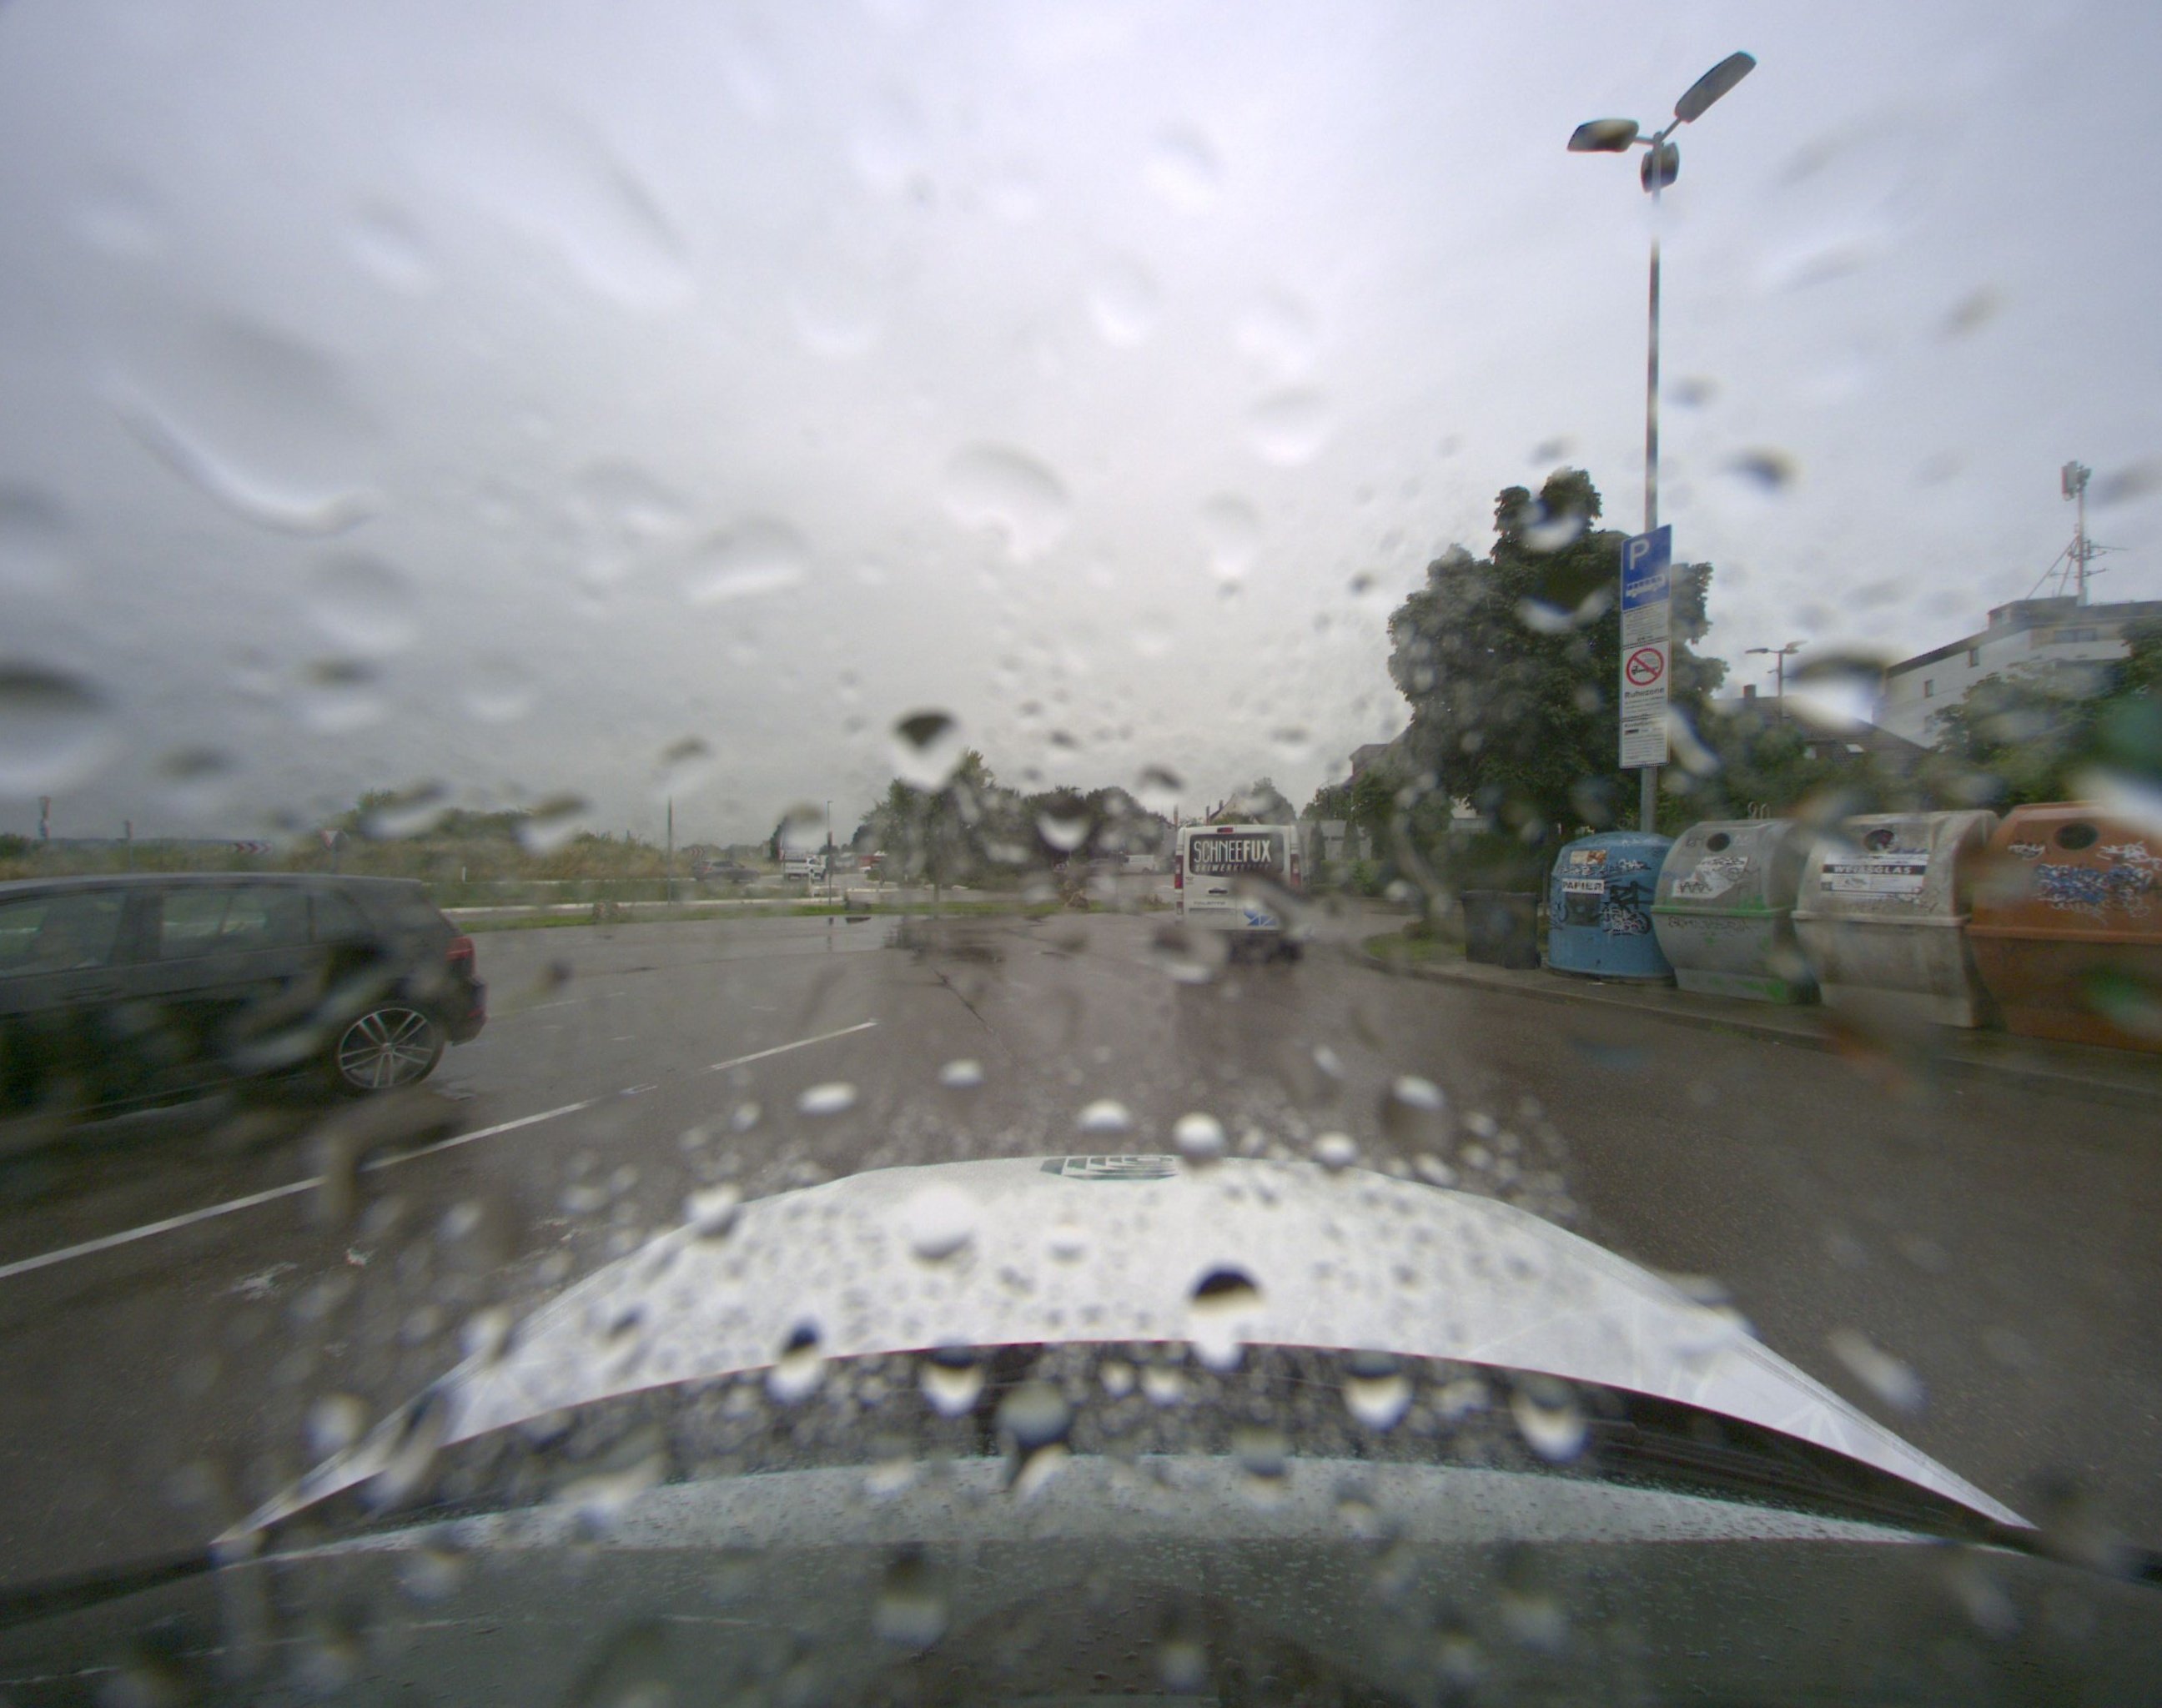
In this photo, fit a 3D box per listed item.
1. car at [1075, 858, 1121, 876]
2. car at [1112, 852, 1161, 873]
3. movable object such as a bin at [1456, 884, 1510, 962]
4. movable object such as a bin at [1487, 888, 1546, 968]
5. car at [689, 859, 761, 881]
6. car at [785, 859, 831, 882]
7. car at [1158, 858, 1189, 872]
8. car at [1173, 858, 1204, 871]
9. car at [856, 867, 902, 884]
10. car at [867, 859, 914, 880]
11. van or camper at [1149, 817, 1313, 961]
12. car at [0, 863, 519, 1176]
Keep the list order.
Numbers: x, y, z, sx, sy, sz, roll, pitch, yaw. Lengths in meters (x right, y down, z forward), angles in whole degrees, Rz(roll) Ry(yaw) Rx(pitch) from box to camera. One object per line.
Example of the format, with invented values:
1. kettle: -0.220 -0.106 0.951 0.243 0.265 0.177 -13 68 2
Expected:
1. car: 1.488 1.146 71.344 3.700 1.551 1.458 -1 0 20
2. car: 5.511 0.833 80.543 4.482 2.033 1.653 -1 0 20
3. movable object such as a bin: 5.113 0.866 10.369 0.447 0.938 0.489 -1 0 1
4. movable object such as a bin: 5.250 0.876 9.833 0.447 0.917 0.489 -1 0 1
5. car: -22.434 0.976 51.464 1.673 1.326 4.067 -1 0 25
6. car: -20.193 1.220 60.344 1.681 1.584 4.390 -1 0 3
7. car: 9.835 1.181 87.037 1.559 1.458 3.649 -1 0 -25
8. car: 11.764 1.148 89.214 1.588 1.458 3.649 -1 0 -25
9. car: -21.375 2.283 86.211 4.388 1.759 1.728 0 -1 -39
10. car: -17.511 1.412 74.978 1.977 1.873 4.667 -1 0 19
11. van or camper: 2.756 0.510 13.807 2.171 1.945 5.219 -1 -1 16
12. car: -5.755 0.801 4.410 1.757 1.433 4.103 -1 0 28
